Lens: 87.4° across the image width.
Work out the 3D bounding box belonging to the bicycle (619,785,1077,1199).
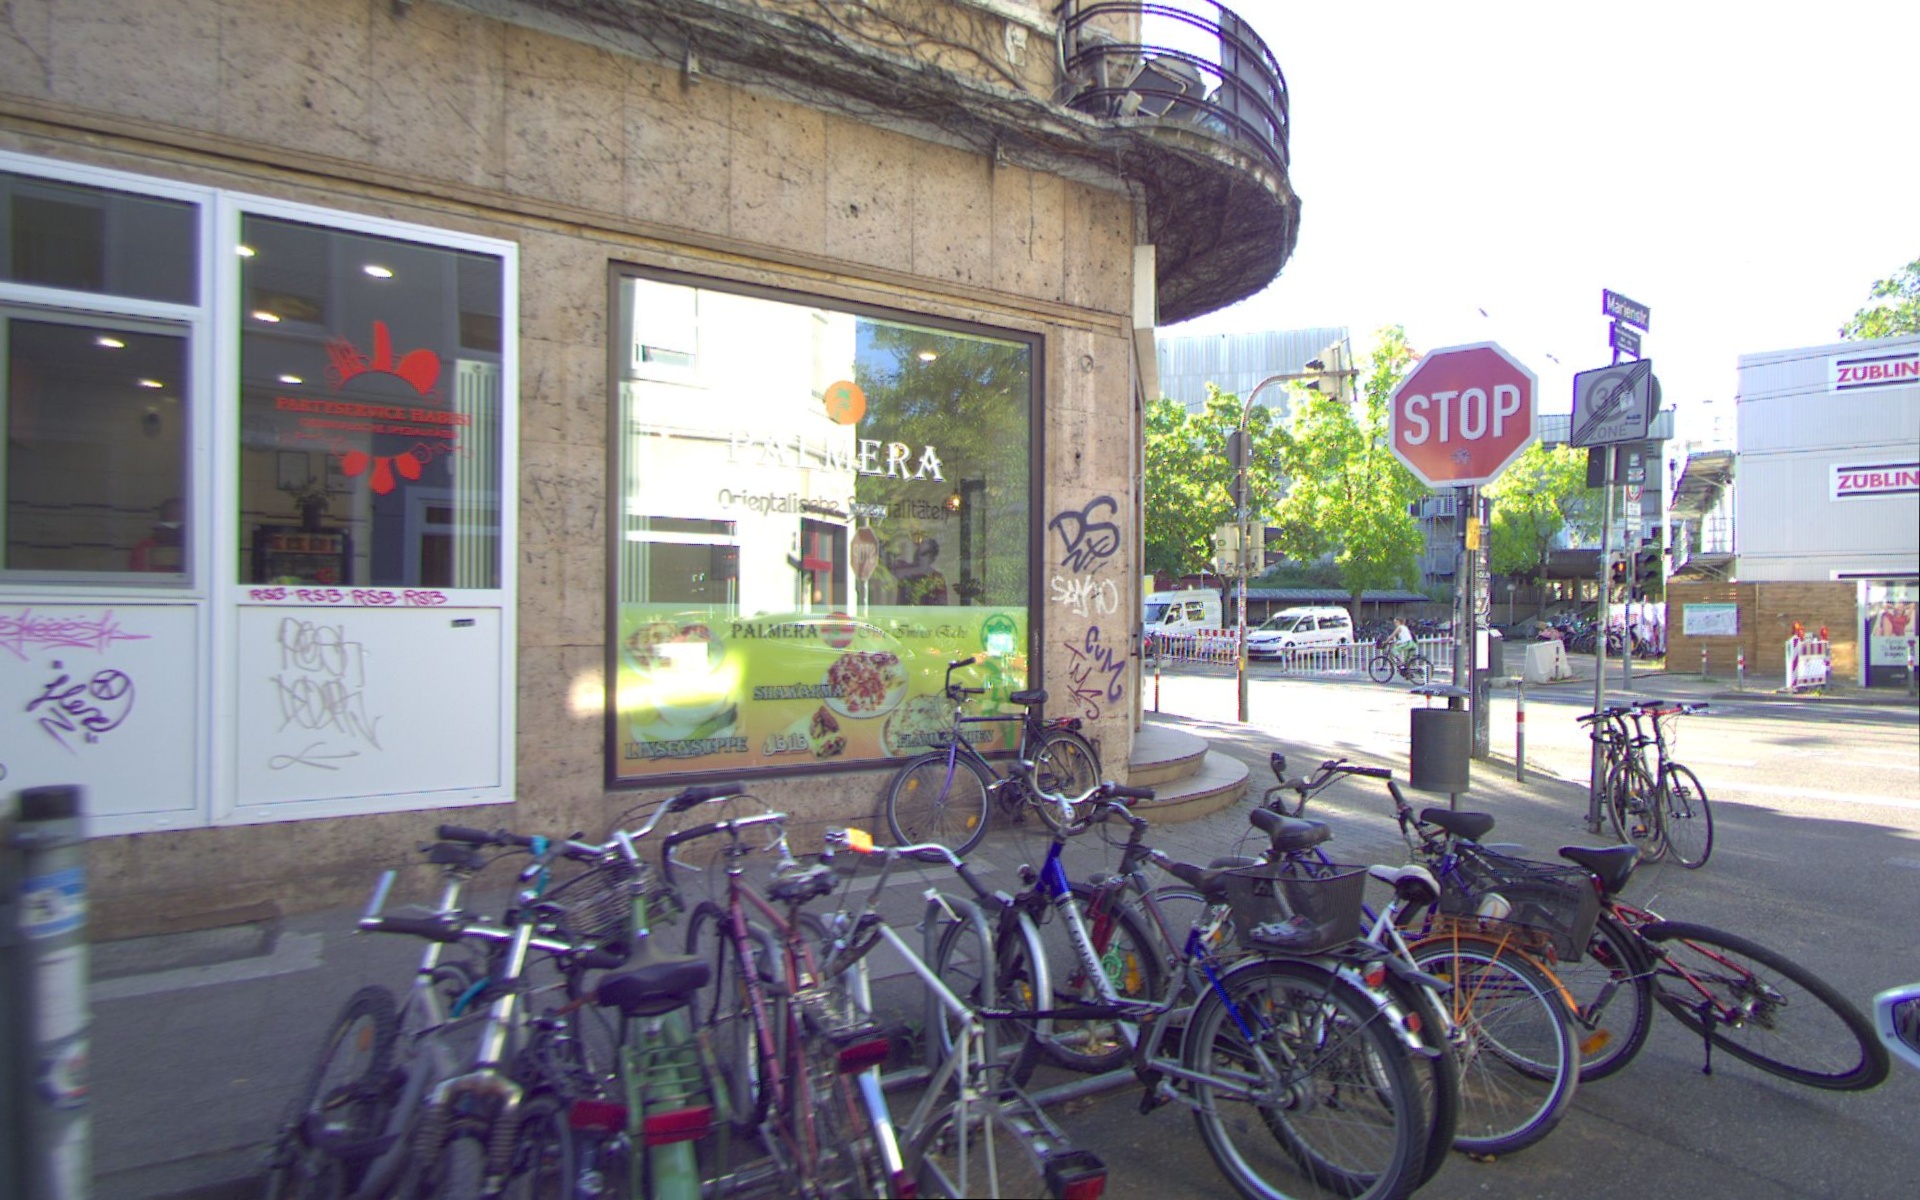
[{"bbox_3d":[-0.416,1.071,2.398,0.417,0.974,1.756,0,-1,-30],"label":"bicycle"}]

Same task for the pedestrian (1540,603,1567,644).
[{"bbox_3d":[29.912,1.194,50.627,0.926,2.040,0.798,0,-1,-26],"label":"pedestrian"}]

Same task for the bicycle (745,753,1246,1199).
[{"bbox_3d":[-0.070,0.999,2.612,0.438,0.974,1.756,0,-1,-30],"label":"bicycle"}]

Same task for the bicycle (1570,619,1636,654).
[{"bbox_3d":[23.938,1.374,37.410,2.009,1.274,0.471,-1,0,16],"label":"bicycle"}]

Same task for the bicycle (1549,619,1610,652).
[{"bbox_3d":[25.026,1.433,40.588,2.009,1.274,0.543,-1,0,16],"label":"bicycle"}]

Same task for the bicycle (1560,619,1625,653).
[{"bbox_3d":[24.470,1.401,38.885,2.009,1.274,0.543,-1,0,16],"label":"bicycle"}]

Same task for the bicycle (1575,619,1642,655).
[{"bbox_3d":[23.822,1.365,36.944,2.009,1.274,0.471,-1,0,16],"label":"bicycle"}]

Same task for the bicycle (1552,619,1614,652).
[{"bbox_3d":[24.802,1.422,40.035,2.009,1.274,0.543,-1,0,16],"label":"bicycle"}]

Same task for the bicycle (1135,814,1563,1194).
[{"bbox_3d":[1.214,1.228,3.357,0.378,0.829,1.298,0,-3,-39],"label":"bicycle"}]

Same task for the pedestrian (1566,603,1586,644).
[{"bbox_3d":[31.013,1.165,50.606,0.789,2.040,1.029,-1,-1,30],"label":"pedestrian"}]

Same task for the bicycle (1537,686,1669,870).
[{"bbox_3d":[4.639,1.222,7.331,0.442,1.059,1.664,-1,-1,20],"label":"bicycle"}]

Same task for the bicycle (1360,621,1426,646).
[{"bbox_3d":[20.527,1.574,47.723,0.811,1.163,3.068,0,-1,-27],"label":"bicycle"}]

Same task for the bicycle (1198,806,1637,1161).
[{"bbox_3d":[1.526,1.242,3.559,0.358,0.829,1.376,0,-3,-39],"label":"bicycle"}]

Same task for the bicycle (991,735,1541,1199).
[{"bbox_3d":[0.804,1.005,3.164,0.424,0.974,1.752,0,-1,-36],"label":"bicycle"}]

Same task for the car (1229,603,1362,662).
[{"bbox_3d":[12.459,1.142,37.249,4.890,1.918,1.994,-2,1,-32],"label":"car"}]

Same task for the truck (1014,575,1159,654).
[{"bbox_3d":[6.009,0.593,47.026,7.052,3.393,2.366,-2,0,-37],"label":"truck"}]

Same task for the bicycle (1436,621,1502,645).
[{"bbox_3d":[25.486,1.626,50.337,0.811,1.163,3.068,0,-1,-27],"label":"bicycle"}]

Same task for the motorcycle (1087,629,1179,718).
[{"bbox_3d":[2.925,1.215,16.774,0.981,1.368,2.421,-1,-4,23],"label":"motorcycle"}]

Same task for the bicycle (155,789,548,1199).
[{"bbox_3d":[-1.243,1.048,2.128,0.458,1.002,1.756,0,-1,-30],"label":"bicycle"}]

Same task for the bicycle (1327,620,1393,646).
[{"bbox_3d":[18.572,1.527,46.715,0.811,1.163,3.068,0,-1,-27],"label":"bicycle"}]

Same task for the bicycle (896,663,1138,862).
[{"bbox_3d":[0.388,0.968,6.338,1.572,1.106,0.396,1,-2,-30],"label":"bicycle"}]

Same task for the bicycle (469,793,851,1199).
[{"bbox_3d":[-0.778,1.056,2.190,0.400,0.974,1.756,0,-1,-30],"label":"bicycle"}]

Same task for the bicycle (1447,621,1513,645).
[{"bbox_3d":[26.275,1.646,50.822,0.811,1.163,3.068,0,-1,-27],"label":"bicycle"}]

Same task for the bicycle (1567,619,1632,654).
[{"bbox_3d":[24.099,1.382,37.888,2.009,1.274,0.471,-1,0,16],"label":"bicycle"}]

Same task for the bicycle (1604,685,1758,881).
[{"bbox_3d":[5.076,1.221,7.164,0.449,1.060,1.687,-1,1,20],"label":"bicycle"}]

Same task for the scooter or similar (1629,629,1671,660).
[{"bbox_3d":[23.608,1.515,34.366,1.464,1.033,0.384,-1,0,-18],"label":"scooter or similar"}]

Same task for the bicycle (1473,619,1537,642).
[{"bbox_3d":[28.852,1.618,53.276,0.811,1.163,3.068,0,-1,-27],"label":"bicycle"}]

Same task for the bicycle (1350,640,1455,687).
[{"bbox_3d":[11.513,1.633,26.218,0.887,1.107,2.406,2,-2,-35],"label":"bicycle"}]

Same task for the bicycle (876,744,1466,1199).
[{"bbox_3d":[0.464,1.004,2.918,0.478,0.974,1.749,1,-1,-41],"label":"bicycle"}]

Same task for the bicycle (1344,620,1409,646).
[{"bbox_3d":[19.563,1.551,47.274,0.811,1.163,3.068,0,-1,-27],"label":"bicycle"}]

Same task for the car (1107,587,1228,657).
[{"bbox_3d":[8.755,0.868,42.110,5.335,2.565,1.977,-4,2,-40],"label":"car"}]

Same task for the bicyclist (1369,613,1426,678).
[{"bbox_3d":[11.462,1.177,26.315,0.887,1.661,1.089,2,-2,-36],"label":"bicyclist"}]

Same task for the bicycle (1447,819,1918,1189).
[{"bbox_3d":[2.463,1.314,3.552,0.368,0.829,1.298,1,-1,-39],"label":"bicycle"}]

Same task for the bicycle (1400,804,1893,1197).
[{"bbox_3d":[2.171,1.202,3.321,0.352,0.829,1.298,1,-1,-39],"label":"bicycle"}]

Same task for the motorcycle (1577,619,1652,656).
[{"bbox_3d":[23.392,1.337,35.932,2.167,1.274,0.543,-1,0,16],"label":"motorcycle"}]

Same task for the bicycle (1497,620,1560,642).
[{"bbox_3d":[31.132,1.681,55.111,0.811,1.163,3.068,0,-1,-27],"label":"bicycle"}]

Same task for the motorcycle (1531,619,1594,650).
[{"bbox_3d":[25.050,1.431,41.811,2.167,1.274,0.543,-1,0,16],"label":"motorcycle"}]
